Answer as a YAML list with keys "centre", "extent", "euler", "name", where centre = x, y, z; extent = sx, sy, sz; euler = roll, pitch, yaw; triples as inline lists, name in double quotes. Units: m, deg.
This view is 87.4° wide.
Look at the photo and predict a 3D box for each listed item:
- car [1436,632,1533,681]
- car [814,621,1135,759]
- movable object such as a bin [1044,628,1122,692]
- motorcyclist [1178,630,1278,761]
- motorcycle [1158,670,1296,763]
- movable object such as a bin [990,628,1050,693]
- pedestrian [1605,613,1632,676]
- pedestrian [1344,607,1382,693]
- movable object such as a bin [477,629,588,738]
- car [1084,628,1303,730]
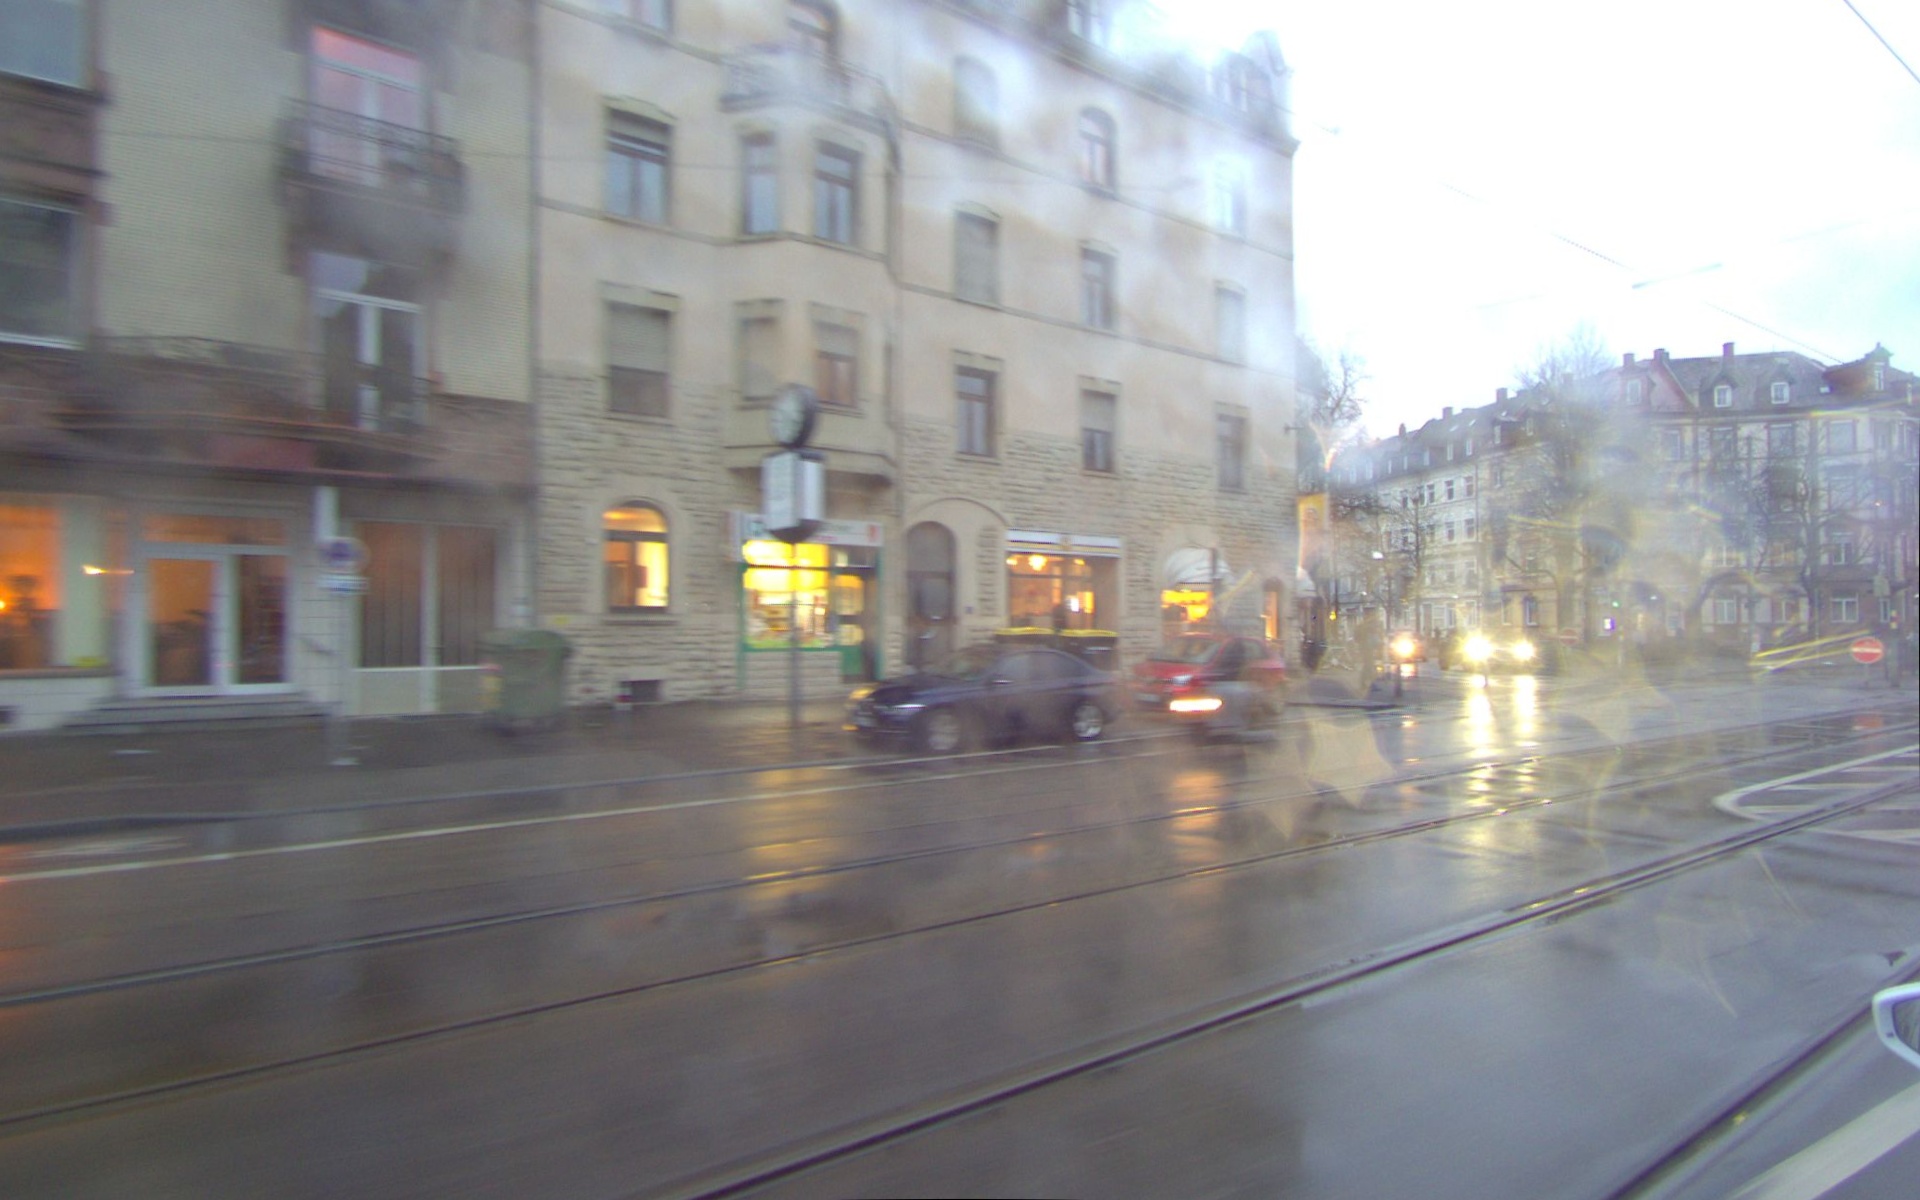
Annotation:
- centre: [19.658, 2.075, 37.816]
  extent: [1.981, 1.695, 4.003]
  euler: [0, -2, 8]
  name: "car"
- centre: [0.311, 1.258, 15.272]
  extent: [4.588, 1.667, 1.971]
  euler: [2, 2, -37]
  name: "car"
- centre: [2.771, 1.338, 22.705]
  extent: [1.239, 1.385, 1.286]
  euler: [1, -2, -34]
  name: "movable object such as a bin"
- centre: [3.406, 1.166, 12.758]
  extent: [1.008, 1.569, 0.835]
  euler: [1, -2, -45]
  name: "motorcyclist"
- centre: [3.412, 1.435, 12.753]
  extent: [1.906, 1.005, 0.847]
  euler: [1, -2, -45]
  name: "motorcycle"
- centre: [1.326, 1.325, 22.333]
  extent: [0.996, 1.395, 0.893]
  euler: [1, -1, -34]
  name: "movable object such as a bin"
- centre: [21.834, 1.466, 33.319]
  extent: [0.695, 2.040, 0.658]
  euler: [-1, -2, 37]
  name: "pedestrian"
- centre: [9.809, 1.208, 24.478]
  extent: [0.635, 2.040, 0.758]
  euler: [1, -1, 2]
  name: "pedestrian"
- centre: [-6.037, 1.124, 14.158]
  extent: [1.237, 1.439, 1.260]
  euler: [1, -2, -34]
  name: "movable object such as a bin"
- centre: [4.480, 1.390, 19.027]
  extent: [3.998, 1.573, 2.020]
  euler: [0, 2, -40]
  name: "car"
